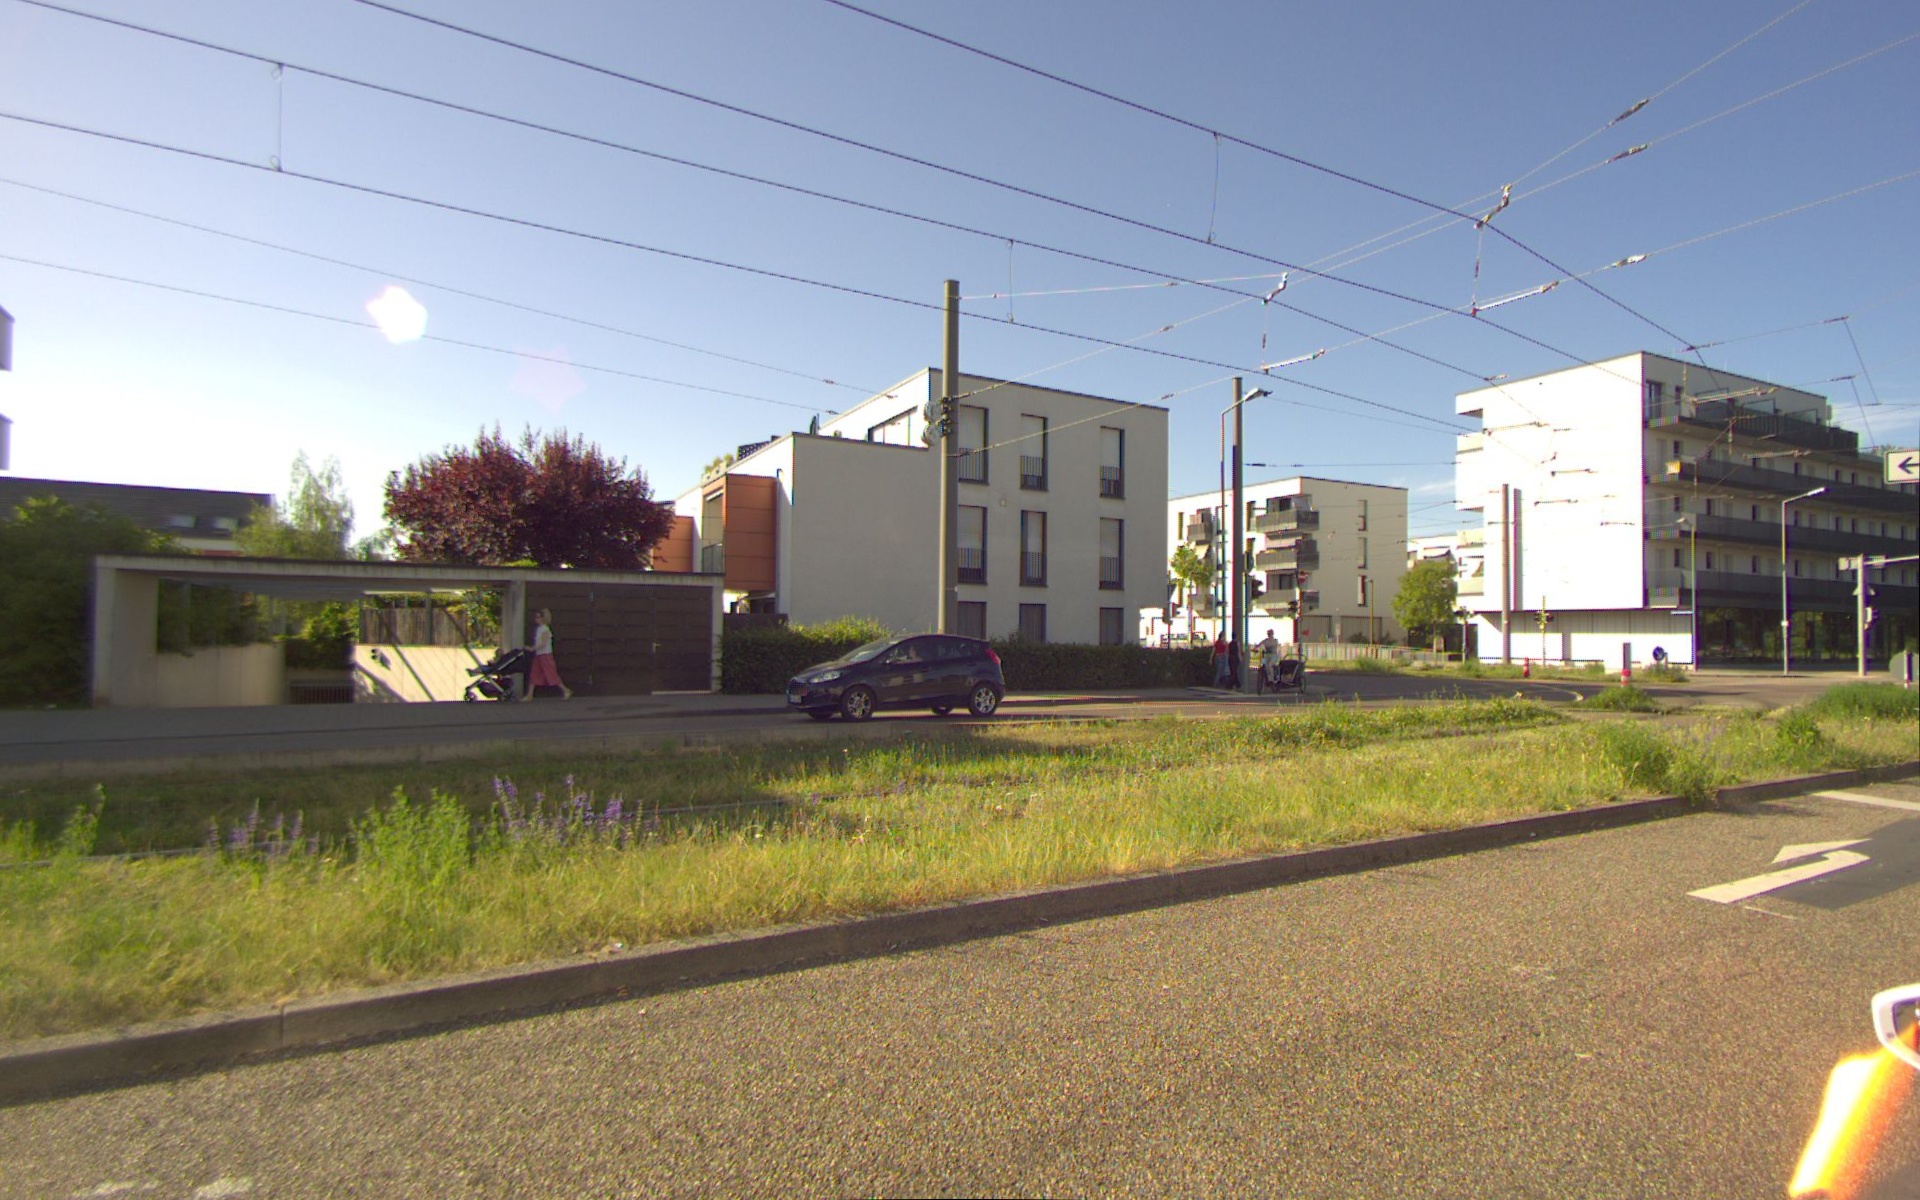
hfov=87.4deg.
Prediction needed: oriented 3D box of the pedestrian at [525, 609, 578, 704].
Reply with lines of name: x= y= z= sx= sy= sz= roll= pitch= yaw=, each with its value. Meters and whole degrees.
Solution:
pedestrian: x=-7.880 y=1.074 z=19.360 sx=0.897 sy=1.771 sz=0.813 roll=1 pitch=0 yaw=-25

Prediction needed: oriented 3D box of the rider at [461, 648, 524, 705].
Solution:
rider: x=-8.792 y=1.429 z=18.917 sx=1.031 sy=1.016 sz=0.775 roll=1 pitch=0 yaw=-25

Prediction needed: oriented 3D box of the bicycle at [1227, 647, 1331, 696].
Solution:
bicycle: x=9.128 y=1.995 z=28.636 sx=3.664 sy=1.190 sz=0.988 roll=1 pitch=1 yaw=-40

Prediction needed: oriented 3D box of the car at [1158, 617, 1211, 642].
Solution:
car: x=17.873 y=2.341 z=80.143 sx=1.977 sy=1.862 sz=3.967 roll=1 pitch=0 yaw=-31

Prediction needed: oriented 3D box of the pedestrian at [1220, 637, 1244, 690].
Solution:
pedestrian: x=7.836 y=1.824 z=28.931 sx=0.548 sy=1.483 sz=0.611 roll=1 pitch=0 yaw=23

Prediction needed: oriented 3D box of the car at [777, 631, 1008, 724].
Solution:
car: x=-1.152 y=1.302 z=17.552 sx=3.700 sy=1.449 sz=1.694 roll=1 pitch=-4 yaw=-33

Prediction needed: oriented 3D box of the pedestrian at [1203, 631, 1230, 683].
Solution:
pedestrian: x=7.582 y=1.674 z=29.667 sx=0.549 sy=1.483 sz=0.740 roll=1 pitch=0 yaw=32

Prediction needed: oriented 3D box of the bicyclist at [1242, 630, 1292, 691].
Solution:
bicyclist: x=8.600 y=1.683 z=28.144 sx=0.905 sy=1.651 sz=0.965 roll=1 pitch=0 yaw=-40
